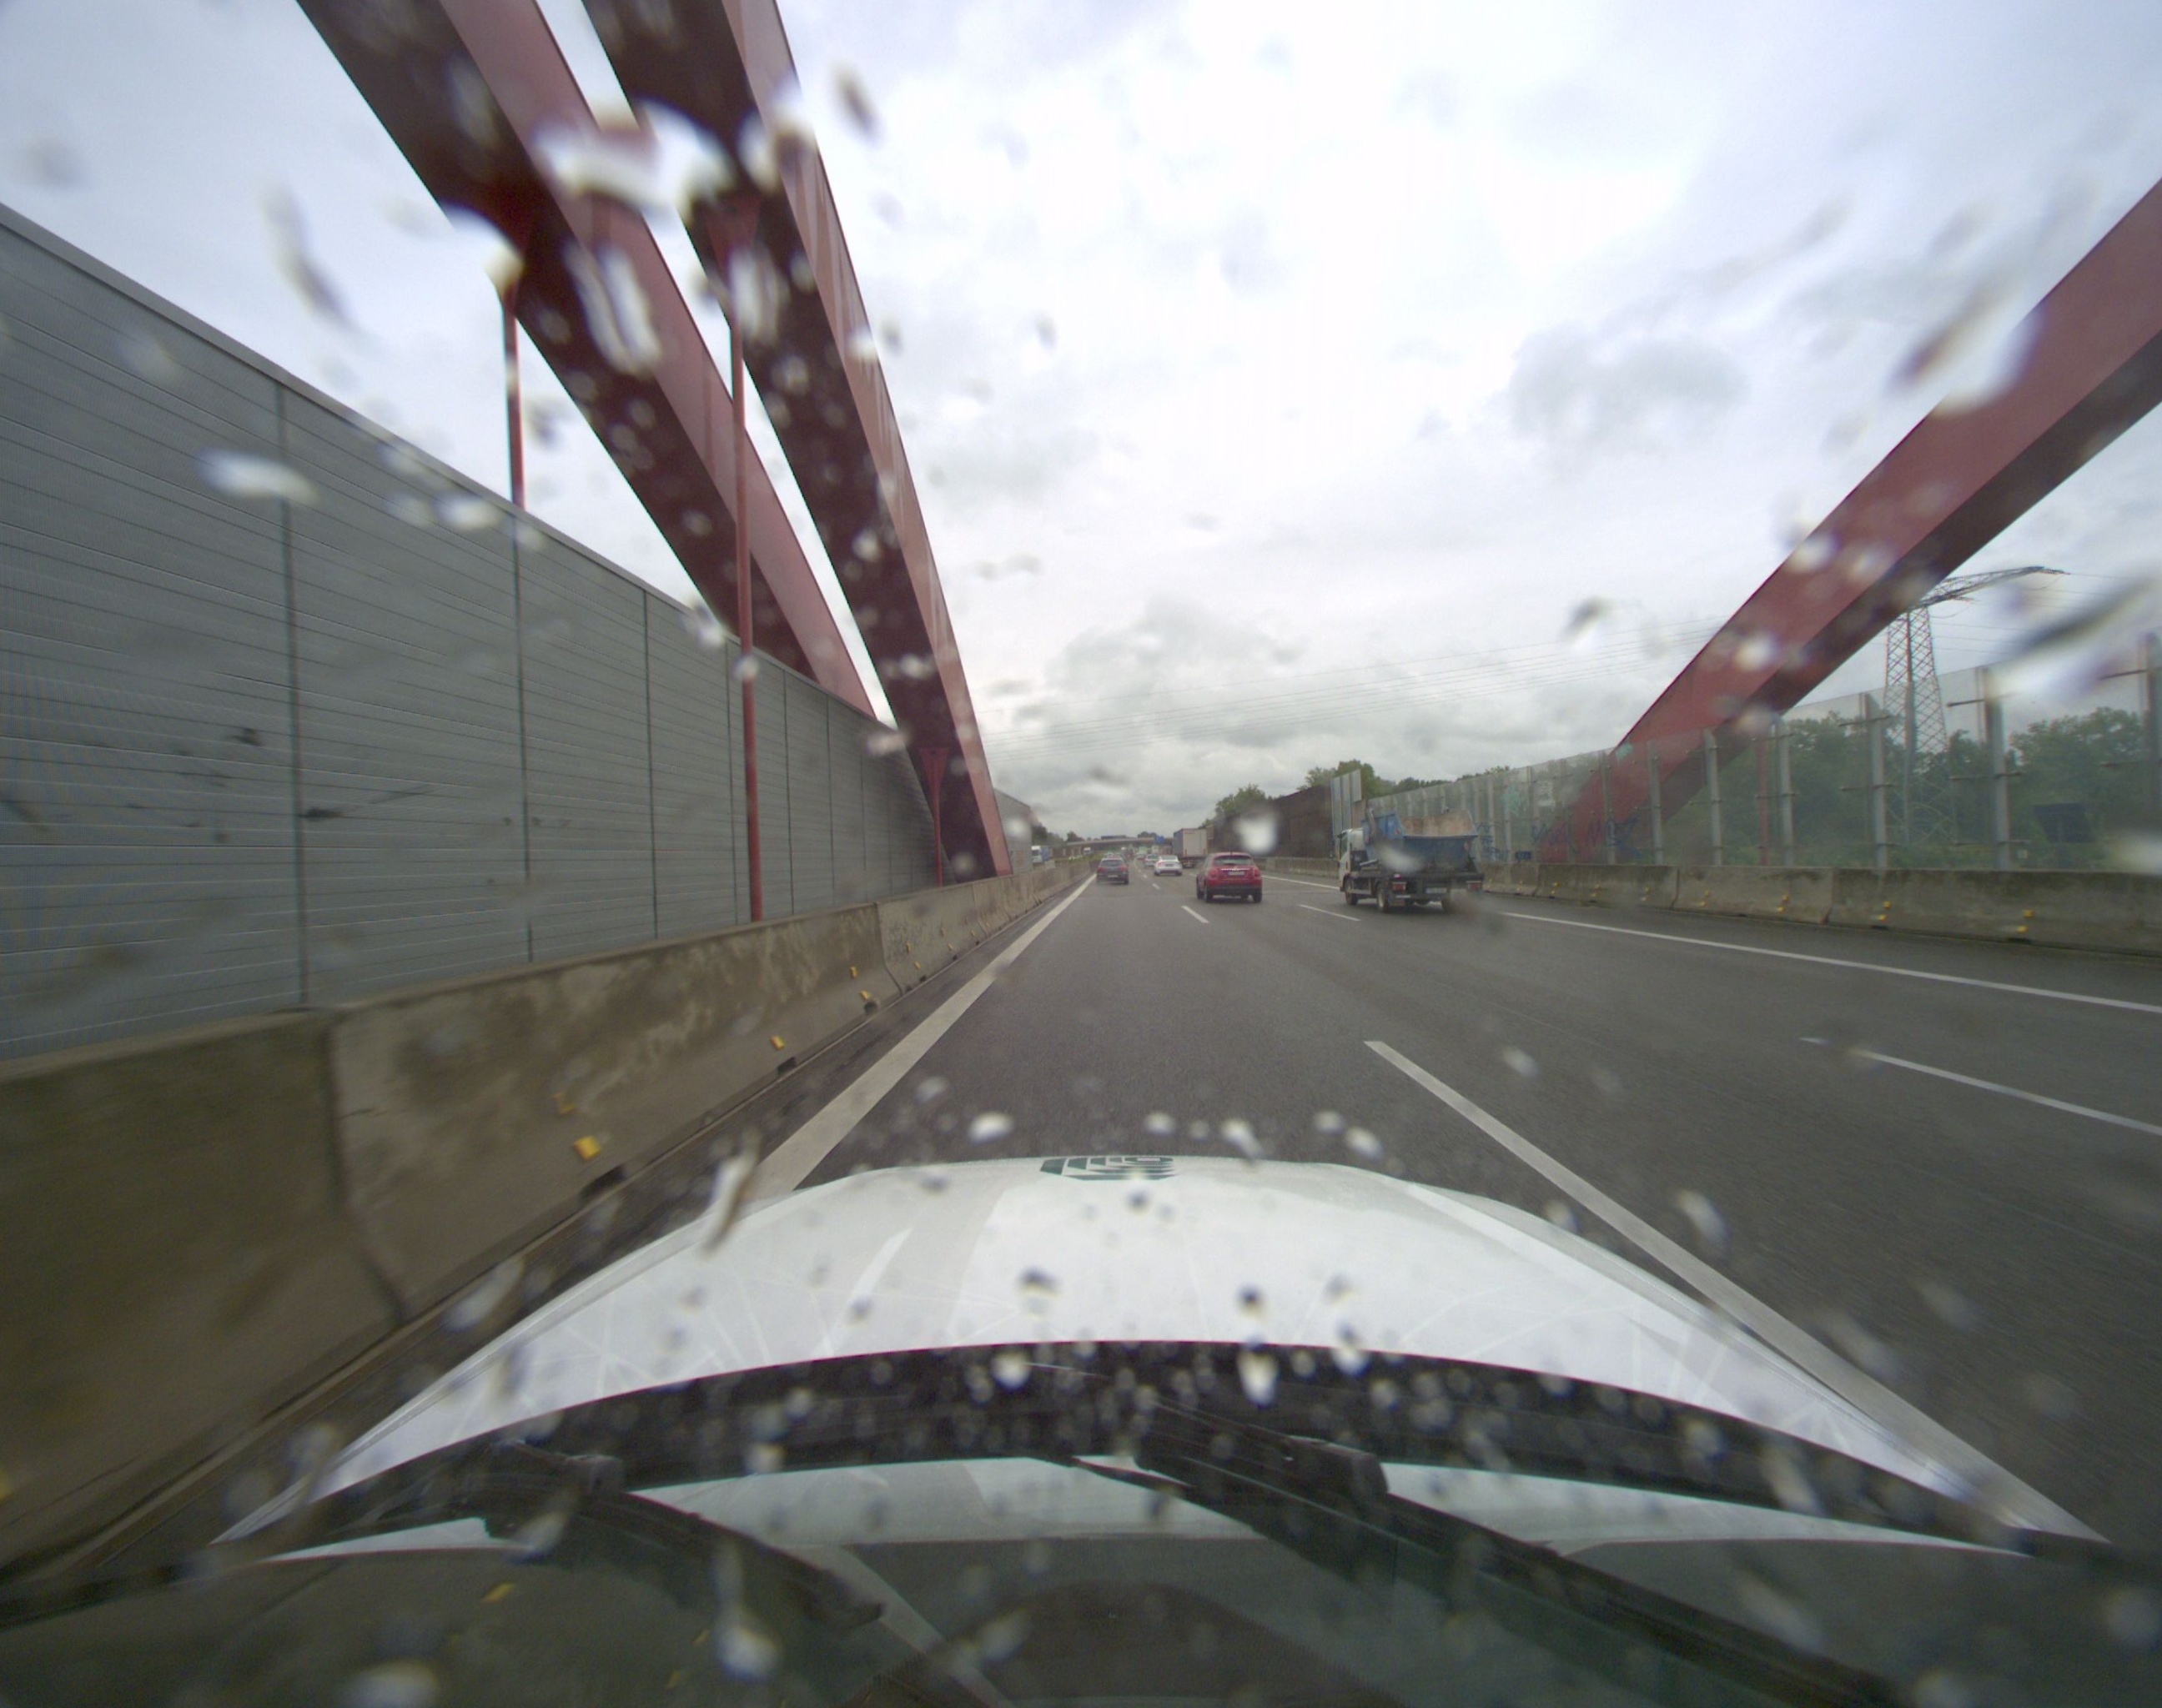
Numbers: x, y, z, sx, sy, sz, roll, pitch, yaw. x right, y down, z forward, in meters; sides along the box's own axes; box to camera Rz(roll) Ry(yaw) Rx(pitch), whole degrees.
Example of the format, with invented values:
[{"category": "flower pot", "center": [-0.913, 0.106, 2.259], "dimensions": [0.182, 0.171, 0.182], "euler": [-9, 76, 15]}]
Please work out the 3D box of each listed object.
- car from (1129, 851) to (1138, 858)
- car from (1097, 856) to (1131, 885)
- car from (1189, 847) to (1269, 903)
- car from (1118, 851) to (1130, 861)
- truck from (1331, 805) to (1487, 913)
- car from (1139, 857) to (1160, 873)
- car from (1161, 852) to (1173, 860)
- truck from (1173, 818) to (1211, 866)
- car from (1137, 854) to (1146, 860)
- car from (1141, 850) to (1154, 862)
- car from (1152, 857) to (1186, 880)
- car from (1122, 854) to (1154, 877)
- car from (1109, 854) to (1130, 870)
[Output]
[{"category": "car", "center": [11.552, 0.123, 179.278], "dimensions": [1.985, 1.624, 4.004], "euler": [-1, 0, 3]}, {"category": "car", "center": [1.756, 0.865, 44.483], "dimensions": [1.757, 1.453, 4.001], "euler": [-1, 0, 1]}, {"category": "car", "center": [4.806, 0.623, 26.982], "dimensions": [1.951, 1.647, 4.000], "euler": [-1, 1, 0]}, {"category": "car", "center": [7.925, 0.284, 150.581], "dimensions": [1.986, 1.815, 4.001], "euler": [-1, 0, 1]}, {"category": "truck", "center": [8.663, 0.121, 22.259], "dimensions": [2.349, 2.506, 6.154], "euler": [-1, 0, 6]}, {"category": "car", "center": [7.167, 1.156, 85.498], "dimensions": [1.697, 1.543, 3.836], "euler": [-1, 0, -1]}, {"category": "car", "center": [16.127, 0.419, 152.258], "dimensions": [1.986, 1.519, 4.002], "euler": [-1, 0, 2]}, {"category": "truck", "center": [11.365, -1.223, 84.333], "dimensions": [3.033, 4.734, 7.681], "euler": [0, 0, 1]}, {"category": "car", "center": [14.298, 0.669, 191.346], "dimensions": [1.986, 1.519, 4.002], "euler": [-1, 0, 2]}, {"category": "car", "center": [11.078, 0.332, 136.088], "dimensions": [1.986, 2.013, 4.001], "euler": [0, 0, 1]}, {"category": "car", "center": [6.220, 0.998, 57.958], "dimensions": [1.987, 1.486, 4.000], "euler": [-1, 0, 0]}, {"category": "car", "center": [4.032, 0.814, 57.978], "dimensions": [1.987, 1.519, 3.999], "euler": [-1, 0, 0]}, {"category": "car", "center": [3.512, 0.685, 74.258], "dimensions": [1.776, 1.406, 3.626], "euler": [-1, 0, 0]}]
